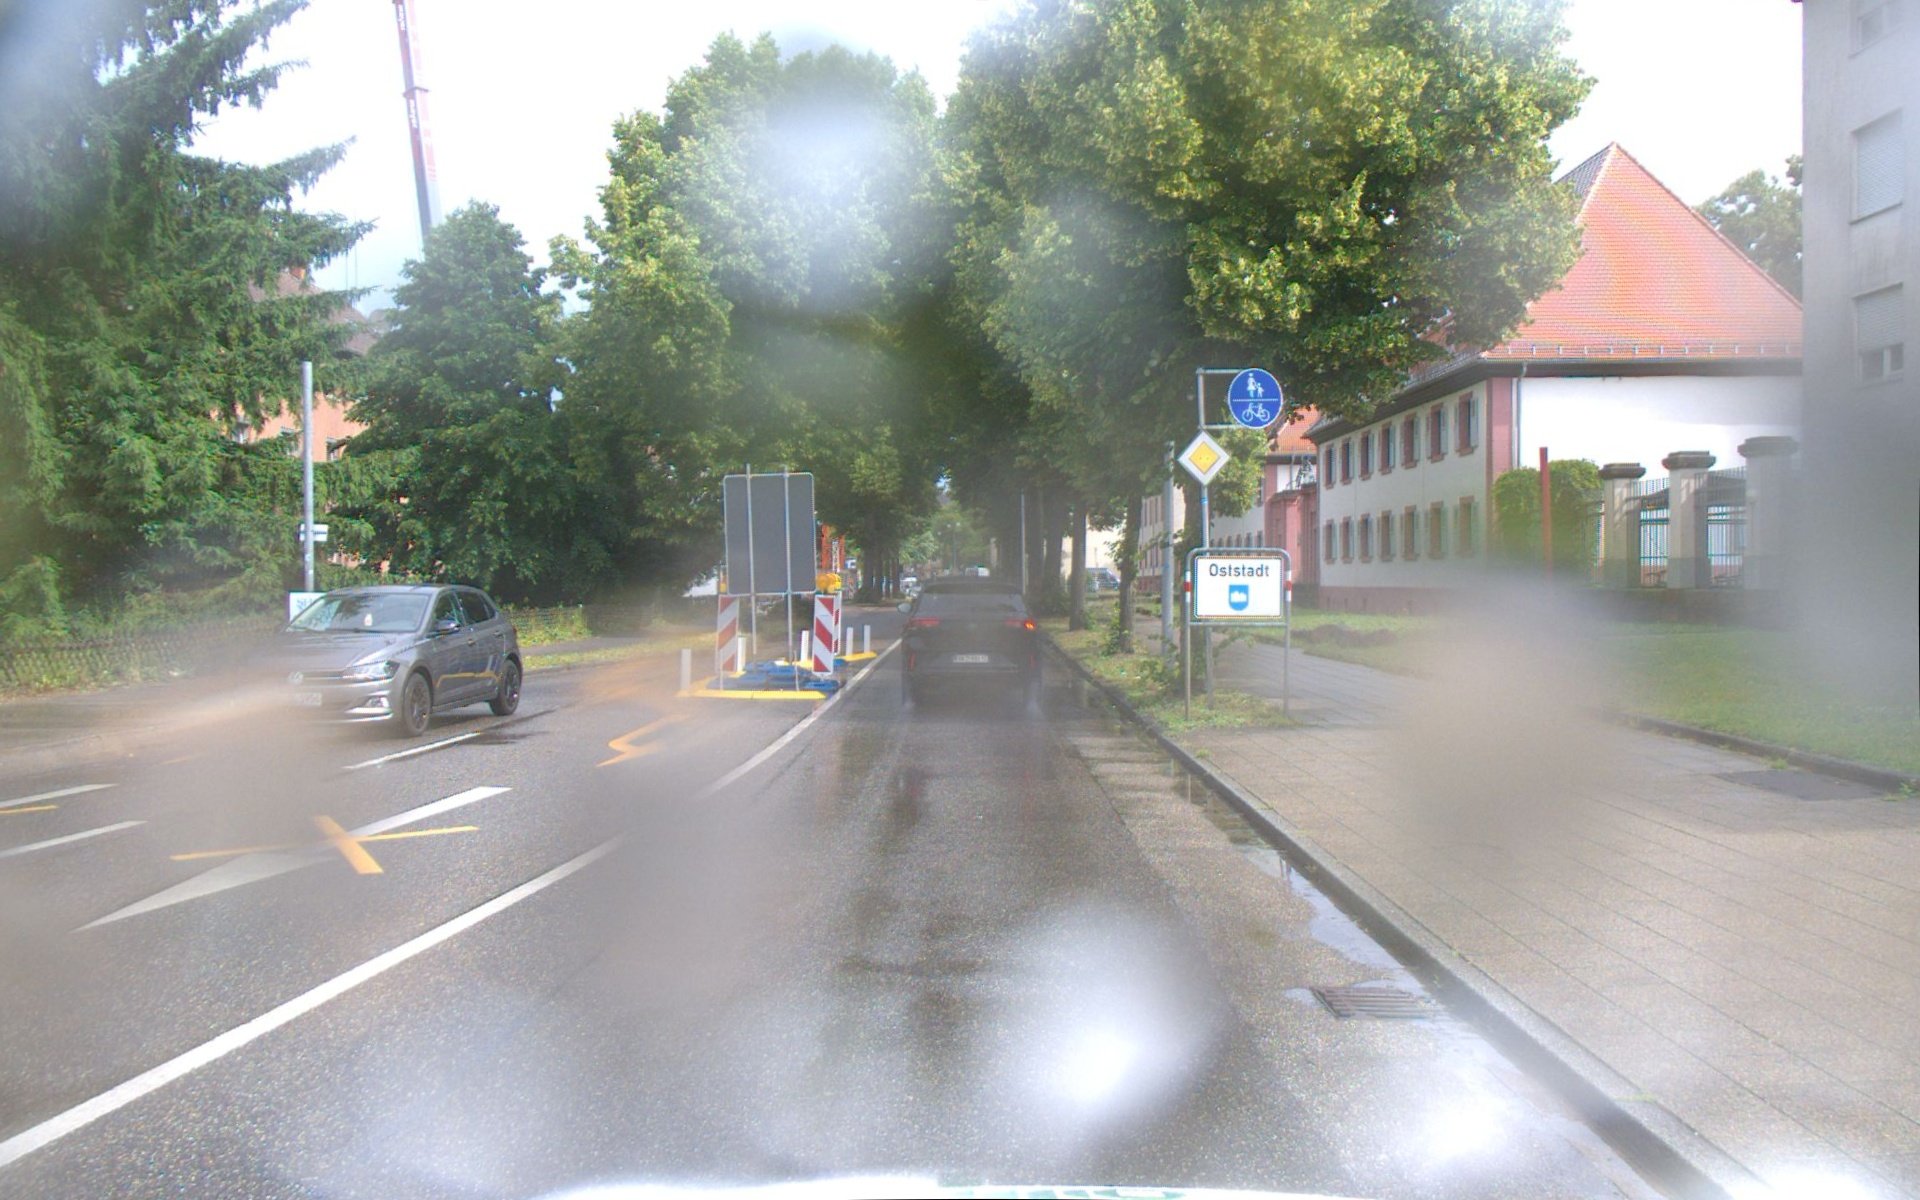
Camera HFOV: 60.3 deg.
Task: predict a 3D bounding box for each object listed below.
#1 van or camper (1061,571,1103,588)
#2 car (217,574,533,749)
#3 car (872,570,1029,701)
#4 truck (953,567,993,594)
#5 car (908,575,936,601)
[{"bbox_3d":[13.975,-2.332,189.690,4.774,1.959,2.132,0,1,1],"label":"van or camper"},{"bbox_3d":[-5.733,0.525,16.701,1.644,1.534,3.795,-1,1,3],"label":"car"},{"bbox_3d":[-0.064,0.395,21.495,1.855,1.549,4.001,0,1,1],"label":"car"},{"bbox_3d":[1.281,-2.017,168.513,2.754,2.703,8.222,0,1,-10],"label":"truck"},{"bbox_3d":[-2.693,-0.860,118.040,1.847,1.743,4.230,-1,1,1],"label":"car"}]
